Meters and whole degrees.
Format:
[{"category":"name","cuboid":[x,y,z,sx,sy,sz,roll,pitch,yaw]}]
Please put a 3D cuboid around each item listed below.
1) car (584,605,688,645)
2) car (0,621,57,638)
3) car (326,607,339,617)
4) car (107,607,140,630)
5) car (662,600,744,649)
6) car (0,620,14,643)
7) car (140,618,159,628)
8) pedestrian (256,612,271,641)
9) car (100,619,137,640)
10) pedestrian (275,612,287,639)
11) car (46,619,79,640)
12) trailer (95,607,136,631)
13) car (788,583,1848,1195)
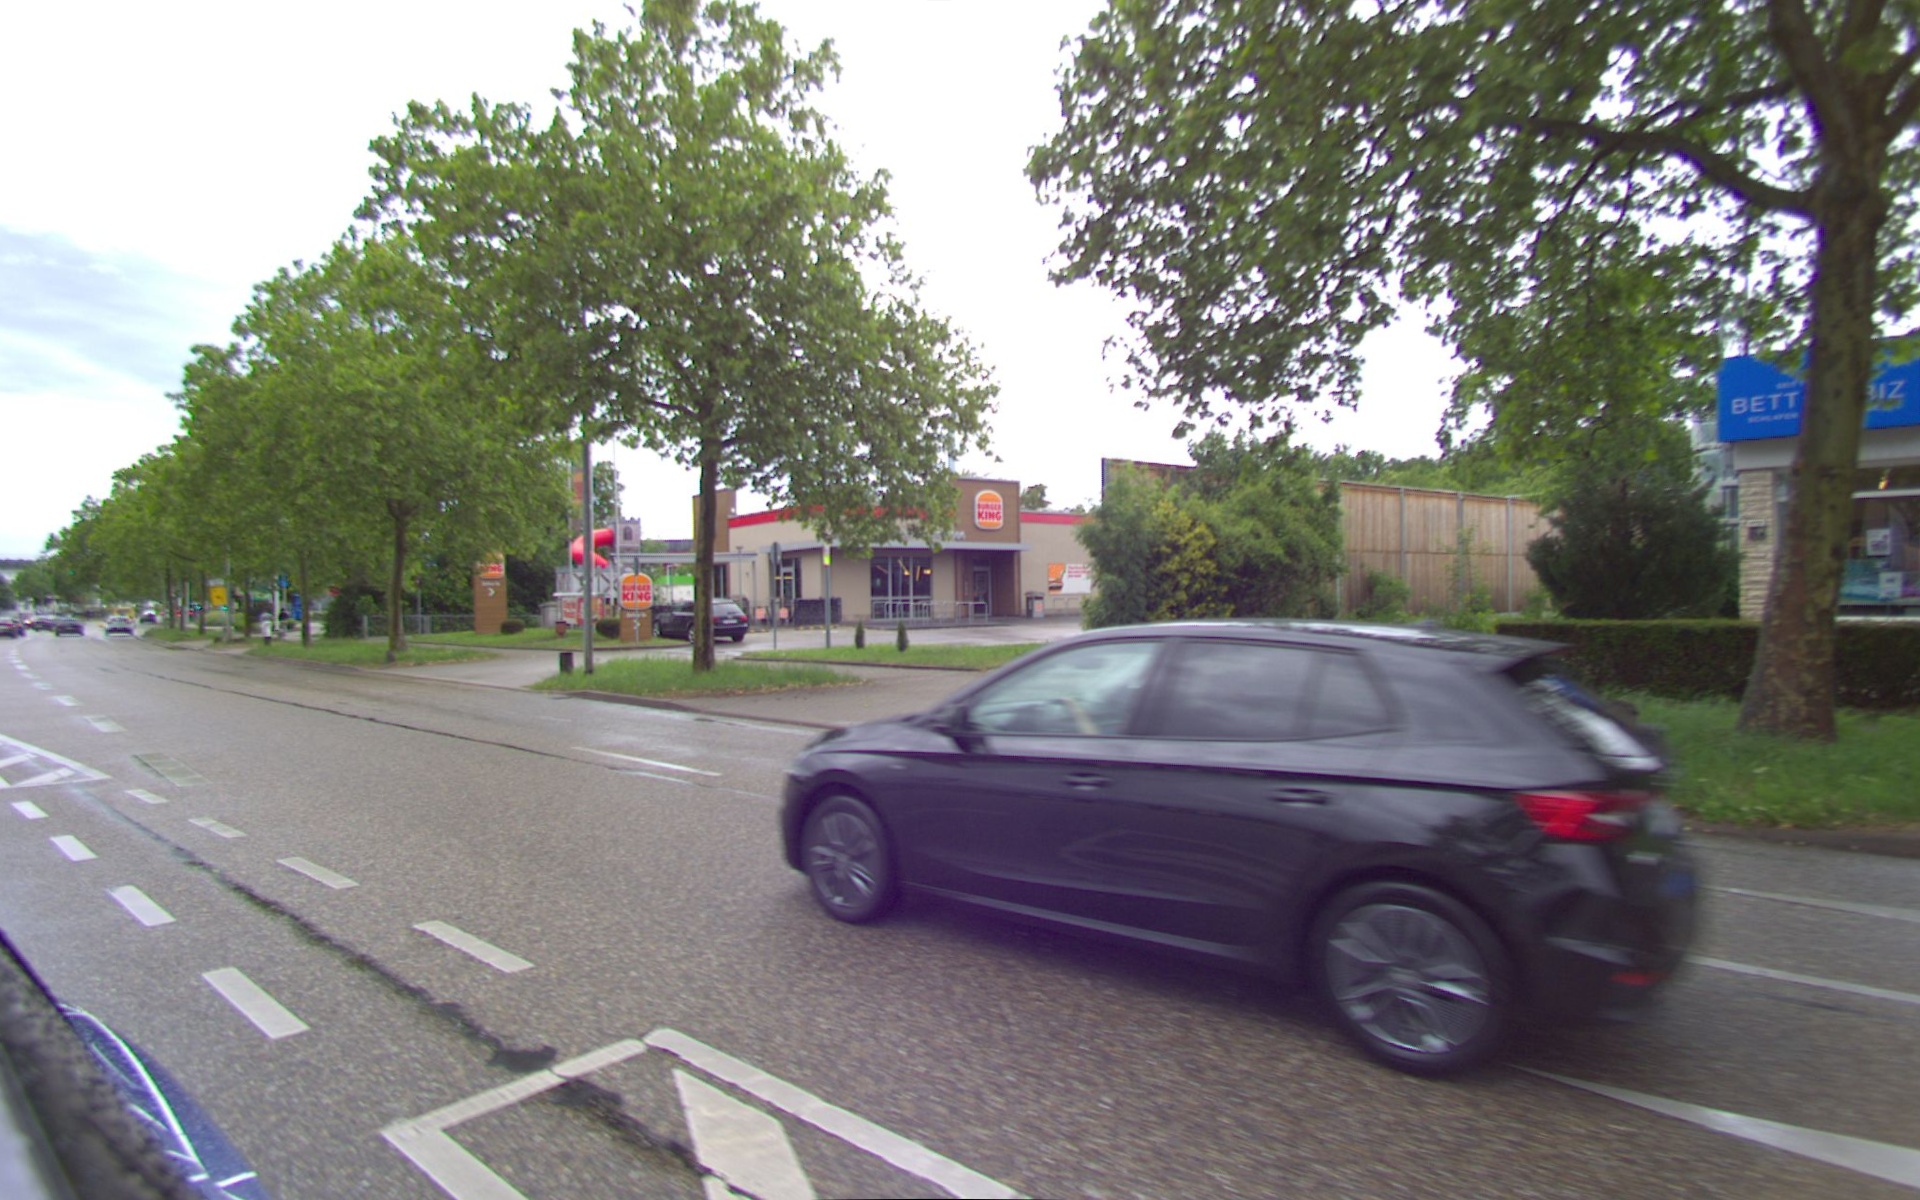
[{"category":"car","cuboid":[-11.165,0.847,34.951,3.135,1.164,1.293,-4,1,-40]},{"category":"car","cuboid":[-92.442,2.905,100.357,1.808,1.552,3.957,0,0,31]},{"category":"car","cuboid":[-102.115,1.933,164.590,1.669,1.658,3.973,0,-1,-33]},{"category":"car","cuboid":[-98.646,2.217,119.384,2.208,2.492,5.030,-2,-1,-30]},{"category":"car","cuboid":[-8.663,0.780,33.952,1.416,1.437,3.197,-2,3,-40]},{"category":"car","cuboid":[-70.819,2.288,74.400,1.789,1.574,4.604,1,-1,-42]},{"category":"car","cuboid":[-124.808,3.516,155.862,1.758,1.415,4.011,0,-1,-33]},{"category":"pedestrian","cuboid":[-43.249,1.628,62.871,0.655,1.780,0.585,-1,0,-24]},{"category":"car","cuboid":[-69.565,2.433,83.641,4.401,1.631,1.906,-1,-1,45]},{"category":"pedestrian","cuboid":[-42.728,1.621,63.684,0.541,1.695,0.506,-2,-2,44]},{"category":"car","cuboid":[-73.570,2.413,82.999,1.969,1.520,4.736,1,-4,-41]},{"category":"trailer","cuboid":[-96.363,2.180,115.580,2.272,2.492,7.995,-2,-1,-30]},{"category":"car","cuboid":[1.210,0.746,4.376,3.842,1.474,1.786,-1,-2,39]}]
